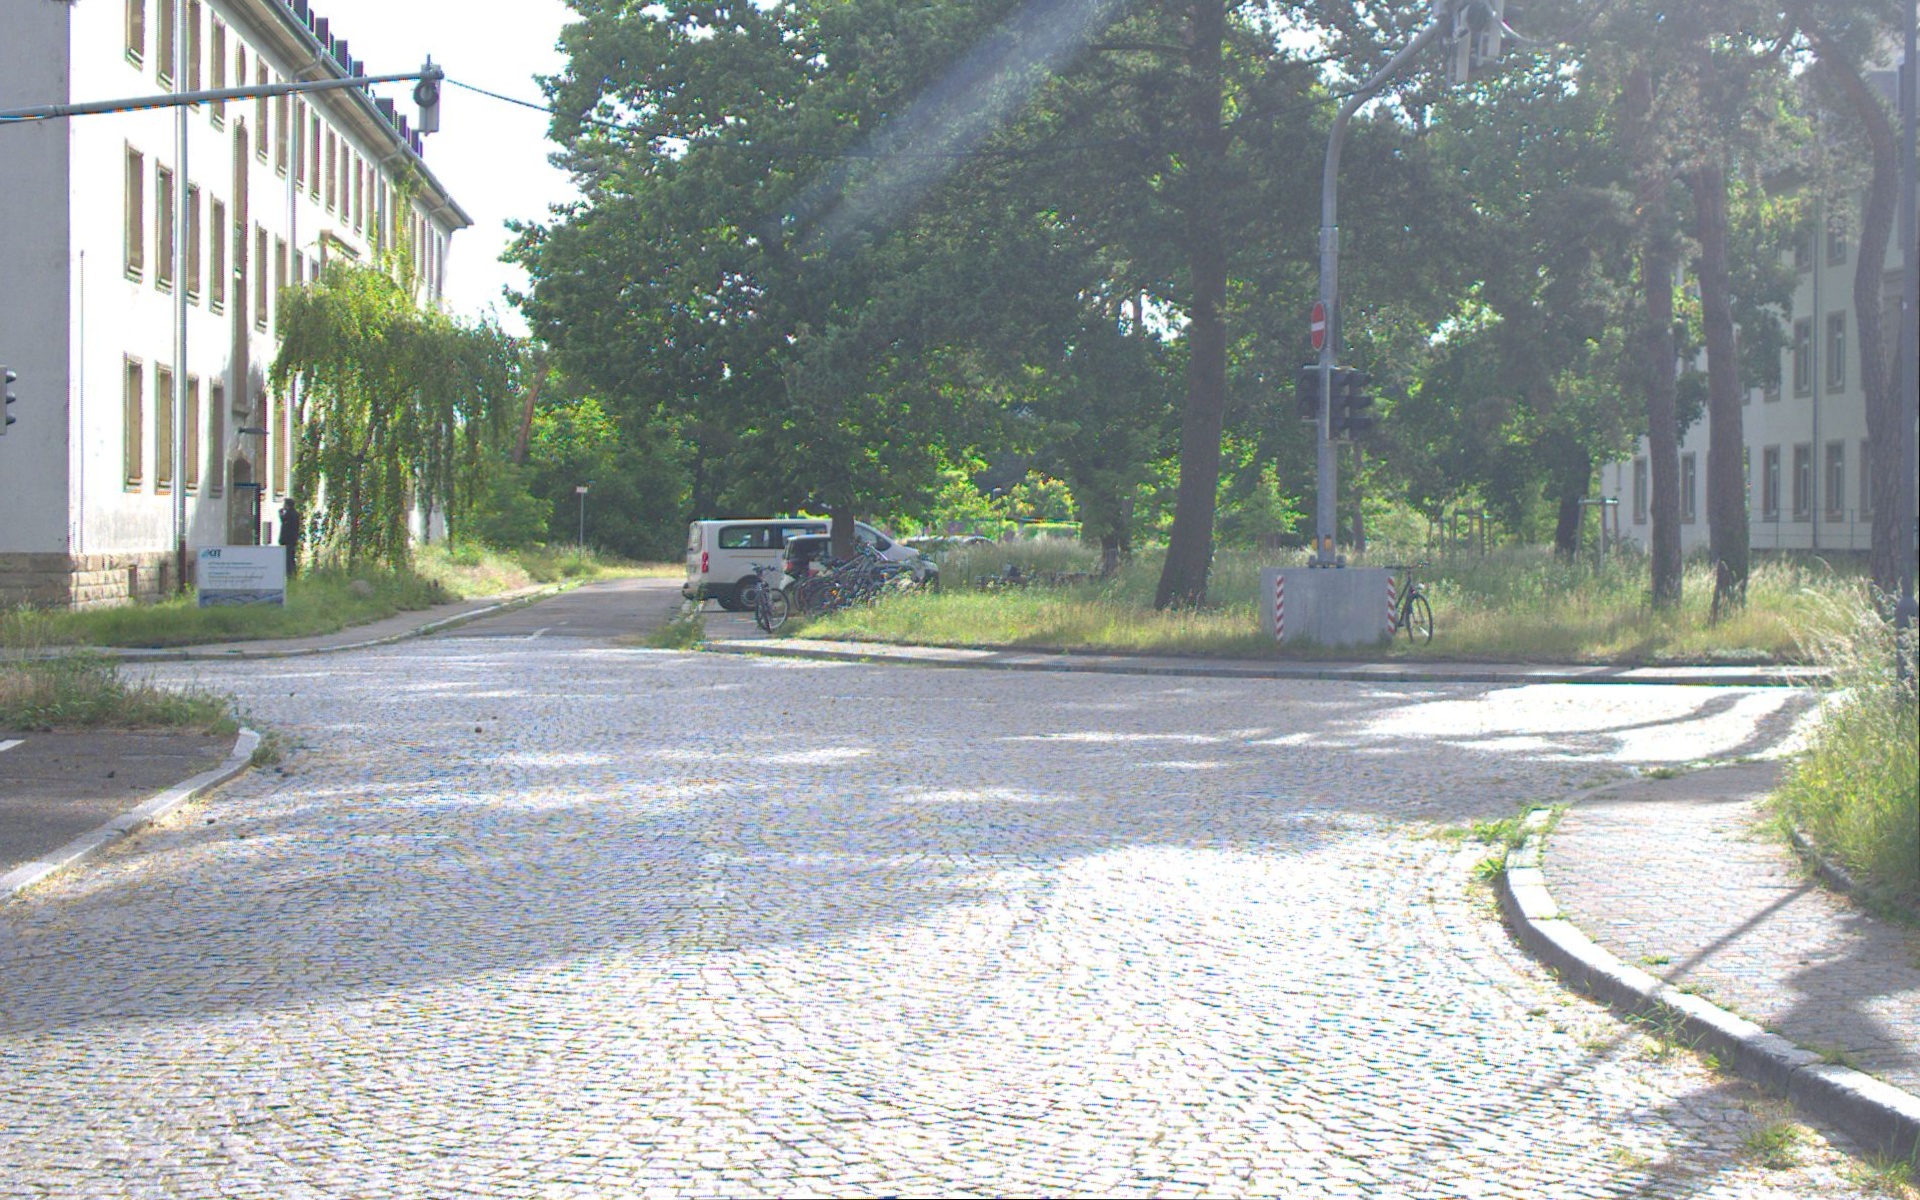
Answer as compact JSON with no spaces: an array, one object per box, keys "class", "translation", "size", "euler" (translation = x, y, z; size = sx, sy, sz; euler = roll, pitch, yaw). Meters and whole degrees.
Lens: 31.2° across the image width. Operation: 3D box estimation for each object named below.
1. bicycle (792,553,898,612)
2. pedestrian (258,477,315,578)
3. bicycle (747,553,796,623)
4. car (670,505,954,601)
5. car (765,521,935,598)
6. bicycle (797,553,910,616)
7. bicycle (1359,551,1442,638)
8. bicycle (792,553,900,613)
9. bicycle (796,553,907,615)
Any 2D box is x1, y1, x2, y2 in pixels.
[{"class":"bicycle","translation":[-1.977,-0.303,59.029],"size":[1.792,0.995,0.644],"euler":[0,2,-5]},{"class":"pedestrian","translation":[-13.214,-1.416,67.461],"size":[0.985,1.956,0.933],"euler":[1,0,-4]},{"class":"bicycle","translation":[-2.861,-0.193,52.115],"size":[0.728,0.995,1.799],"euler":[0,2,-4]},{"class":"car","translation":[-3.093,-0.976,71.654],"size":[5.499,1.909,2.255],"euler":[1,1,-17]},{"class":"car","translation":[-2.189,-0.795,68.137],"size":[3.031,1.460,1.720],"euler":[1,0,-16]},{"class":"bicycle","translation":[-1.730,-0.259,55.778],"size":[1.792,0.995,0.644],"euler":[0,2,-5]},{"class":"bicycle","translation":[5.372,-0.082,41.996],"size":[0.562,0.995,1.752],"euler":[0,2,-8]},{"class":"bicycle","translation":[-1.935,-0.292,58.292],"size":[1.792,0.995,0.644],"euler":[0,2,-5]},{"class":"bicycle","translation":[-1.800,-0.271,56.796],"size":[1.792,0.995,0.644],"euler":[0,2,-5]}]
